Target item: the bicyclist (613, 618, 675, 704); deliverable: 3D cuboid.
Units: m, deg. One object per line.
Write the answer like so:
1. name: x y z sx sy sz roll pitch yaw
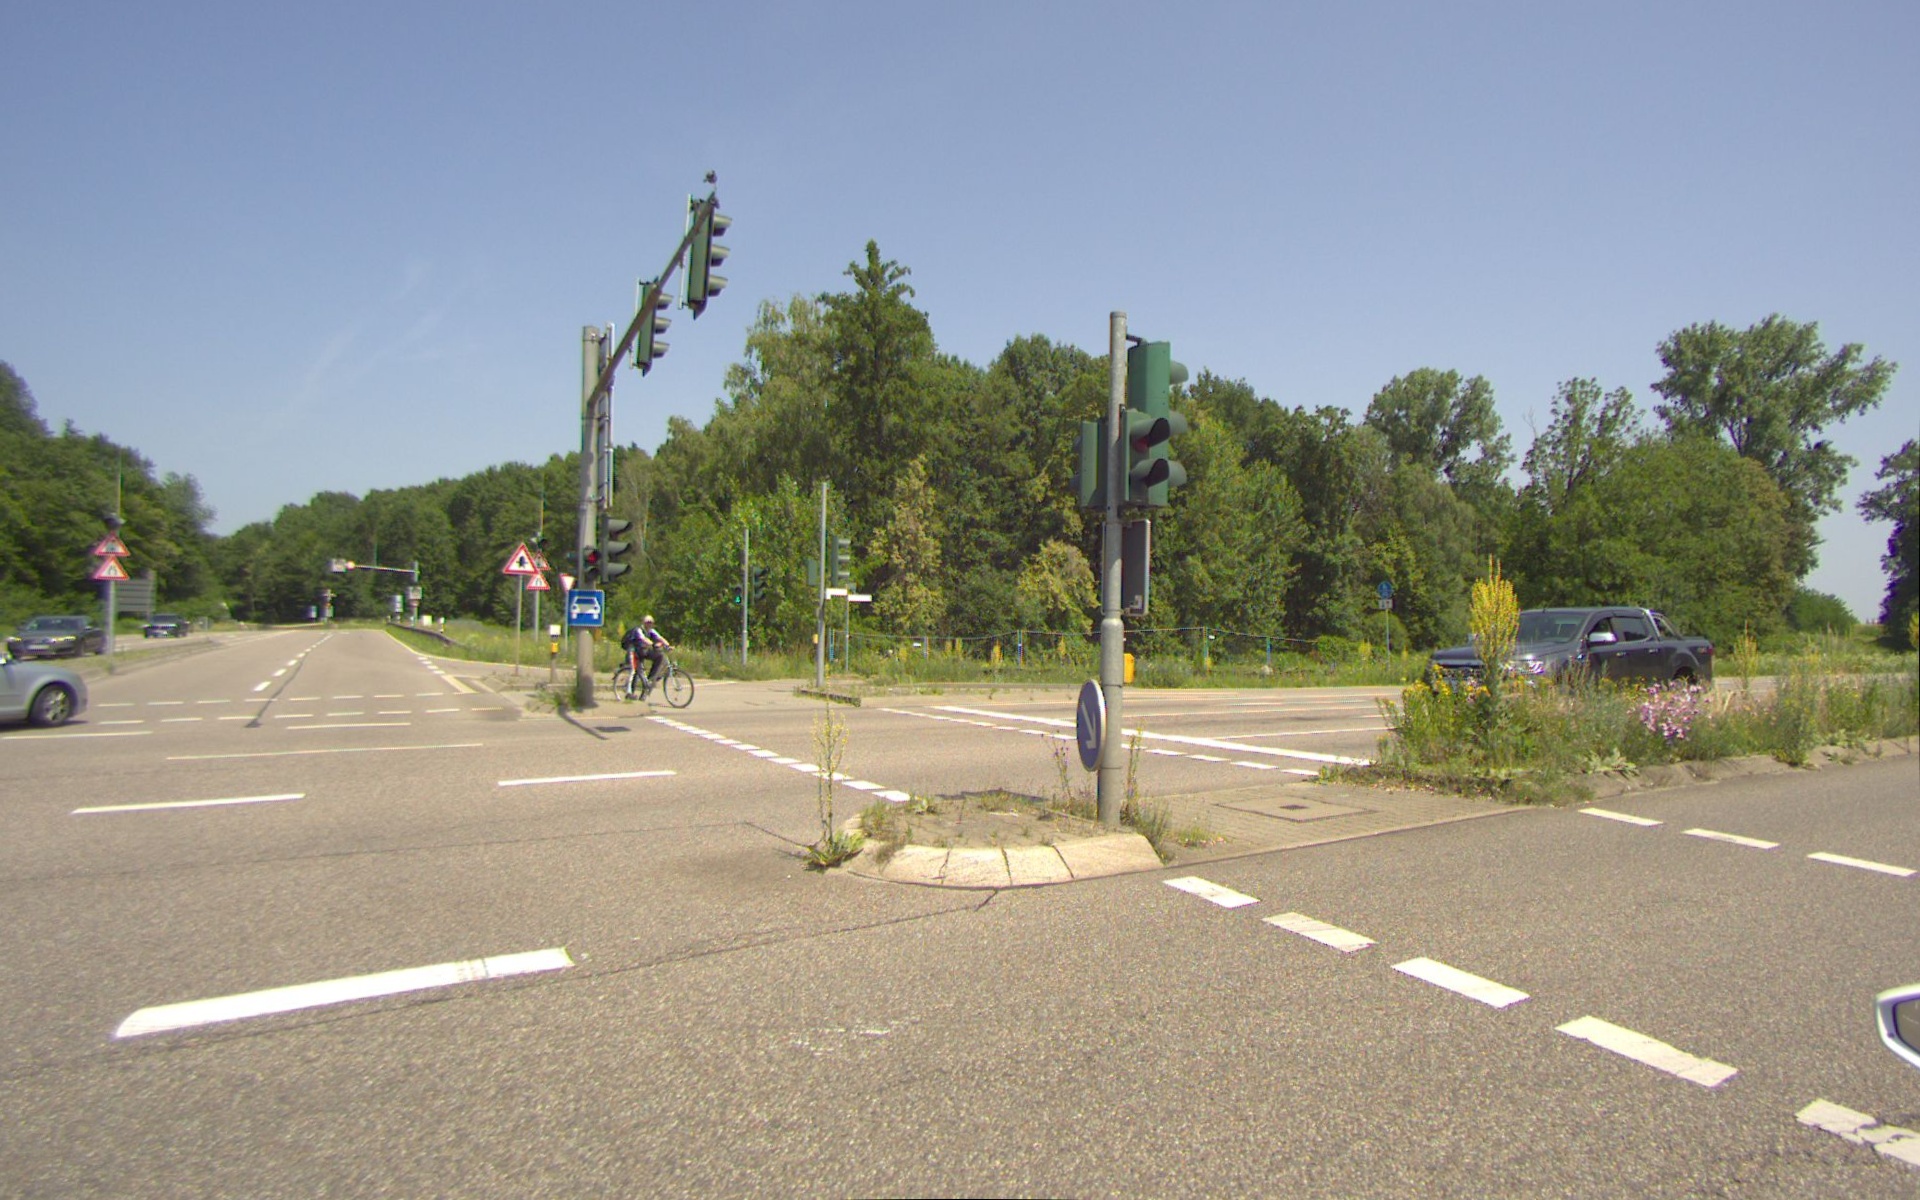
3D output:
1. bicyclist: -5.667 1.077 18.035 0.701 1.479 0.927 1 -1 8

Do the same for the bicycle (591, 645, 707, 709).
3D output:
1. bicycle: -5.567 1.360 18.007 1.831 1.077 0.725 1 -1 8

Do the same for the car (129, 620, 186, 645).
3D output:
1. car: -54.988 2.227 68.943 1.974 1.657 4.790 1 -2 -26

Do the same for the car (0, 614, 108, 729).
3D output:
1. car: -13.183 0.925 12.458 1.735 1.410 4.015 2 0 1

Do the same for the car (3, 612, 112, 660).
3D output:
1. car: -30.967 1.220 34.620 1.841 1.538 4.781 2 -2 -31

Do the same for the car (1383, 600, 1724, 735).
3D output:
1. car: 8.845 0.955 14.856 5.301 1.700 1.985 2 -2 -30
